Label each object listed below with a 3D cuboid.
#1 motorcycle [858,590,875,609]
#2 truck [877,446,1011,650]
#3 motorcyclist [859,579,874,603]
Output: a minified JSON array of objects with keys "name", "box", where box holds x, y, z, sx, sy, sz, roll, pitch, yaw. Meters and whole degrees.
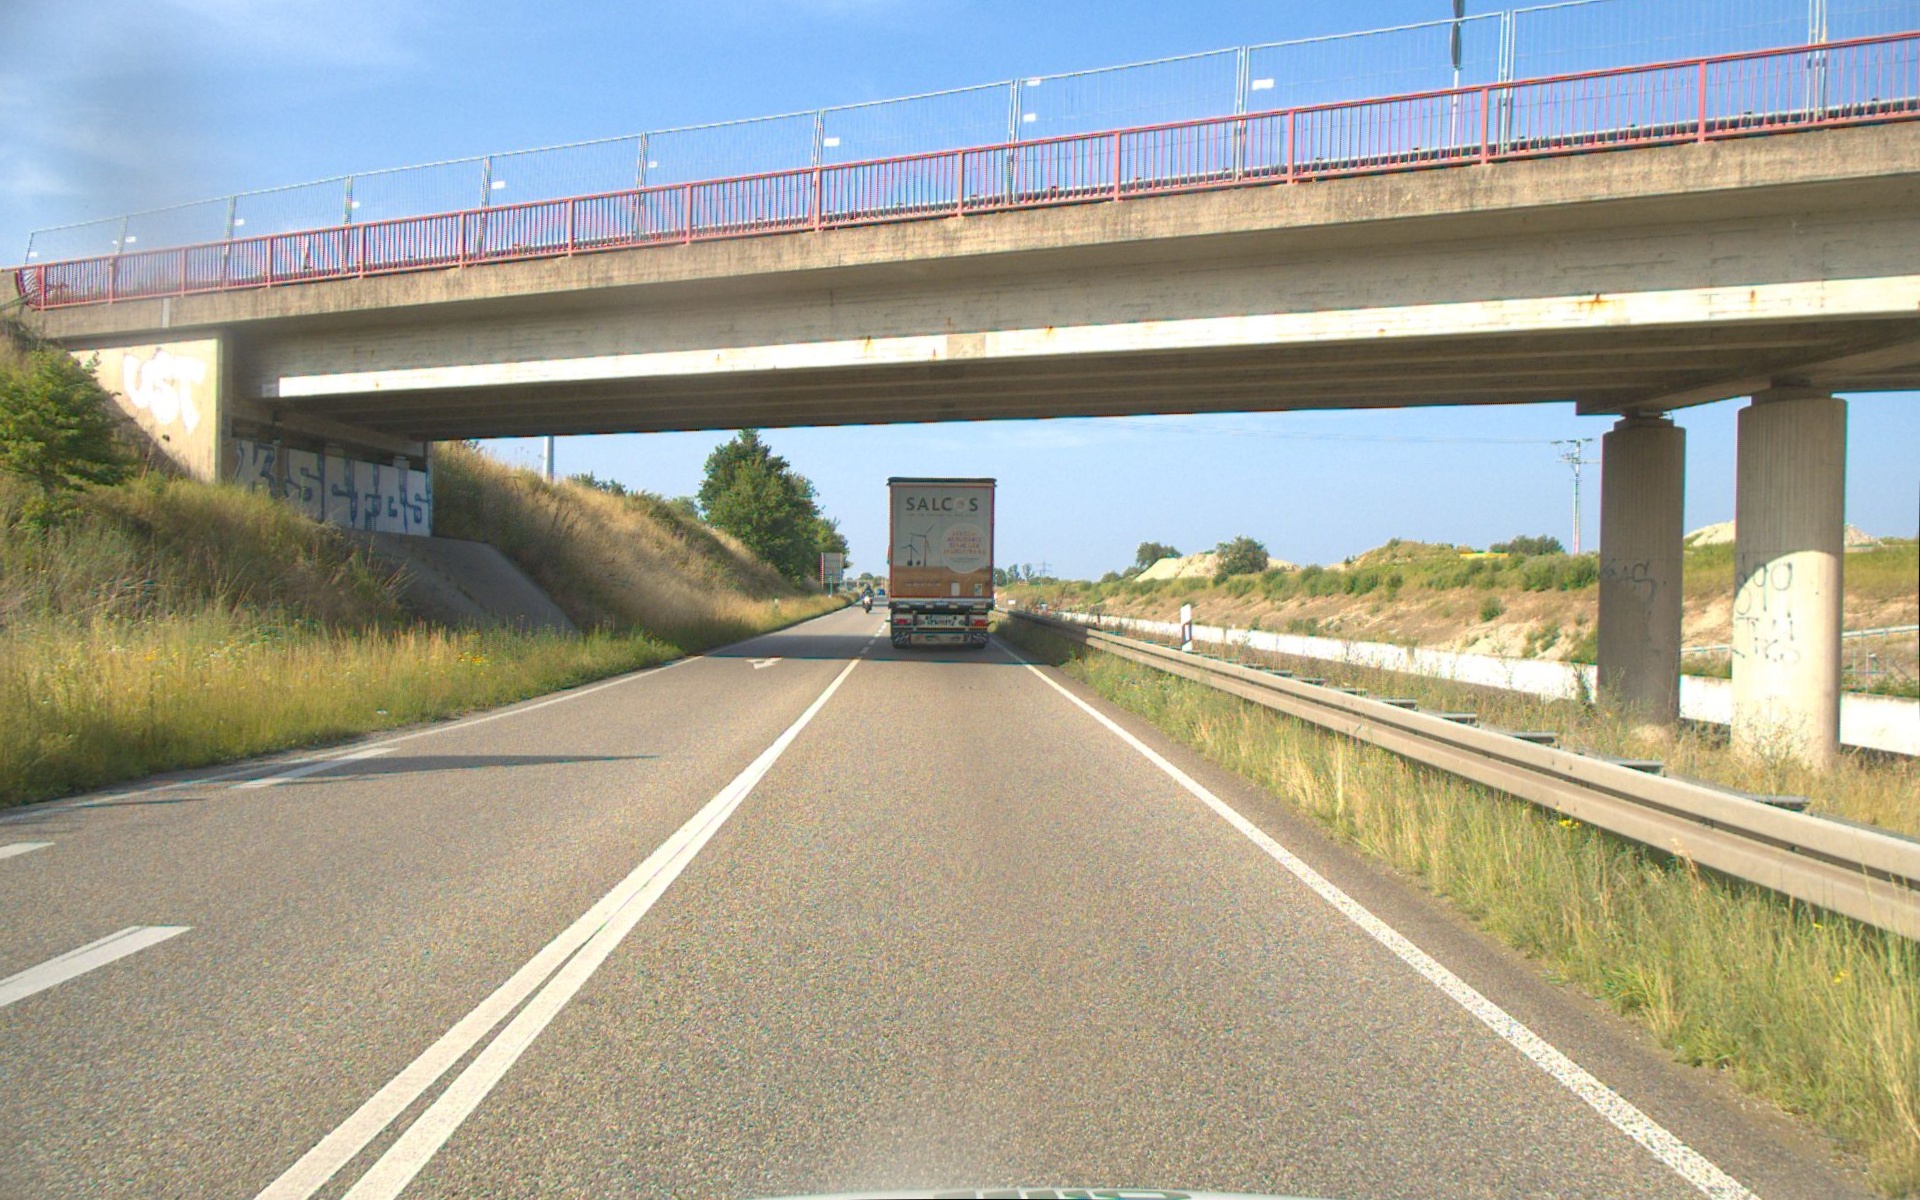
[{"name":"motorcycle","box":[-5.639,-0.021,100.151,1.020,1.137,2.131,0,0,-3]},{"name":"truck","box":[-0.582,-1.243,43.068,3.090,4.770,8.435,0,0,-3]},{"name":"motorcyclist","box":[-5.662,-0.554,100.226,0.862,1.477,1.283,0,0,-3]}]
